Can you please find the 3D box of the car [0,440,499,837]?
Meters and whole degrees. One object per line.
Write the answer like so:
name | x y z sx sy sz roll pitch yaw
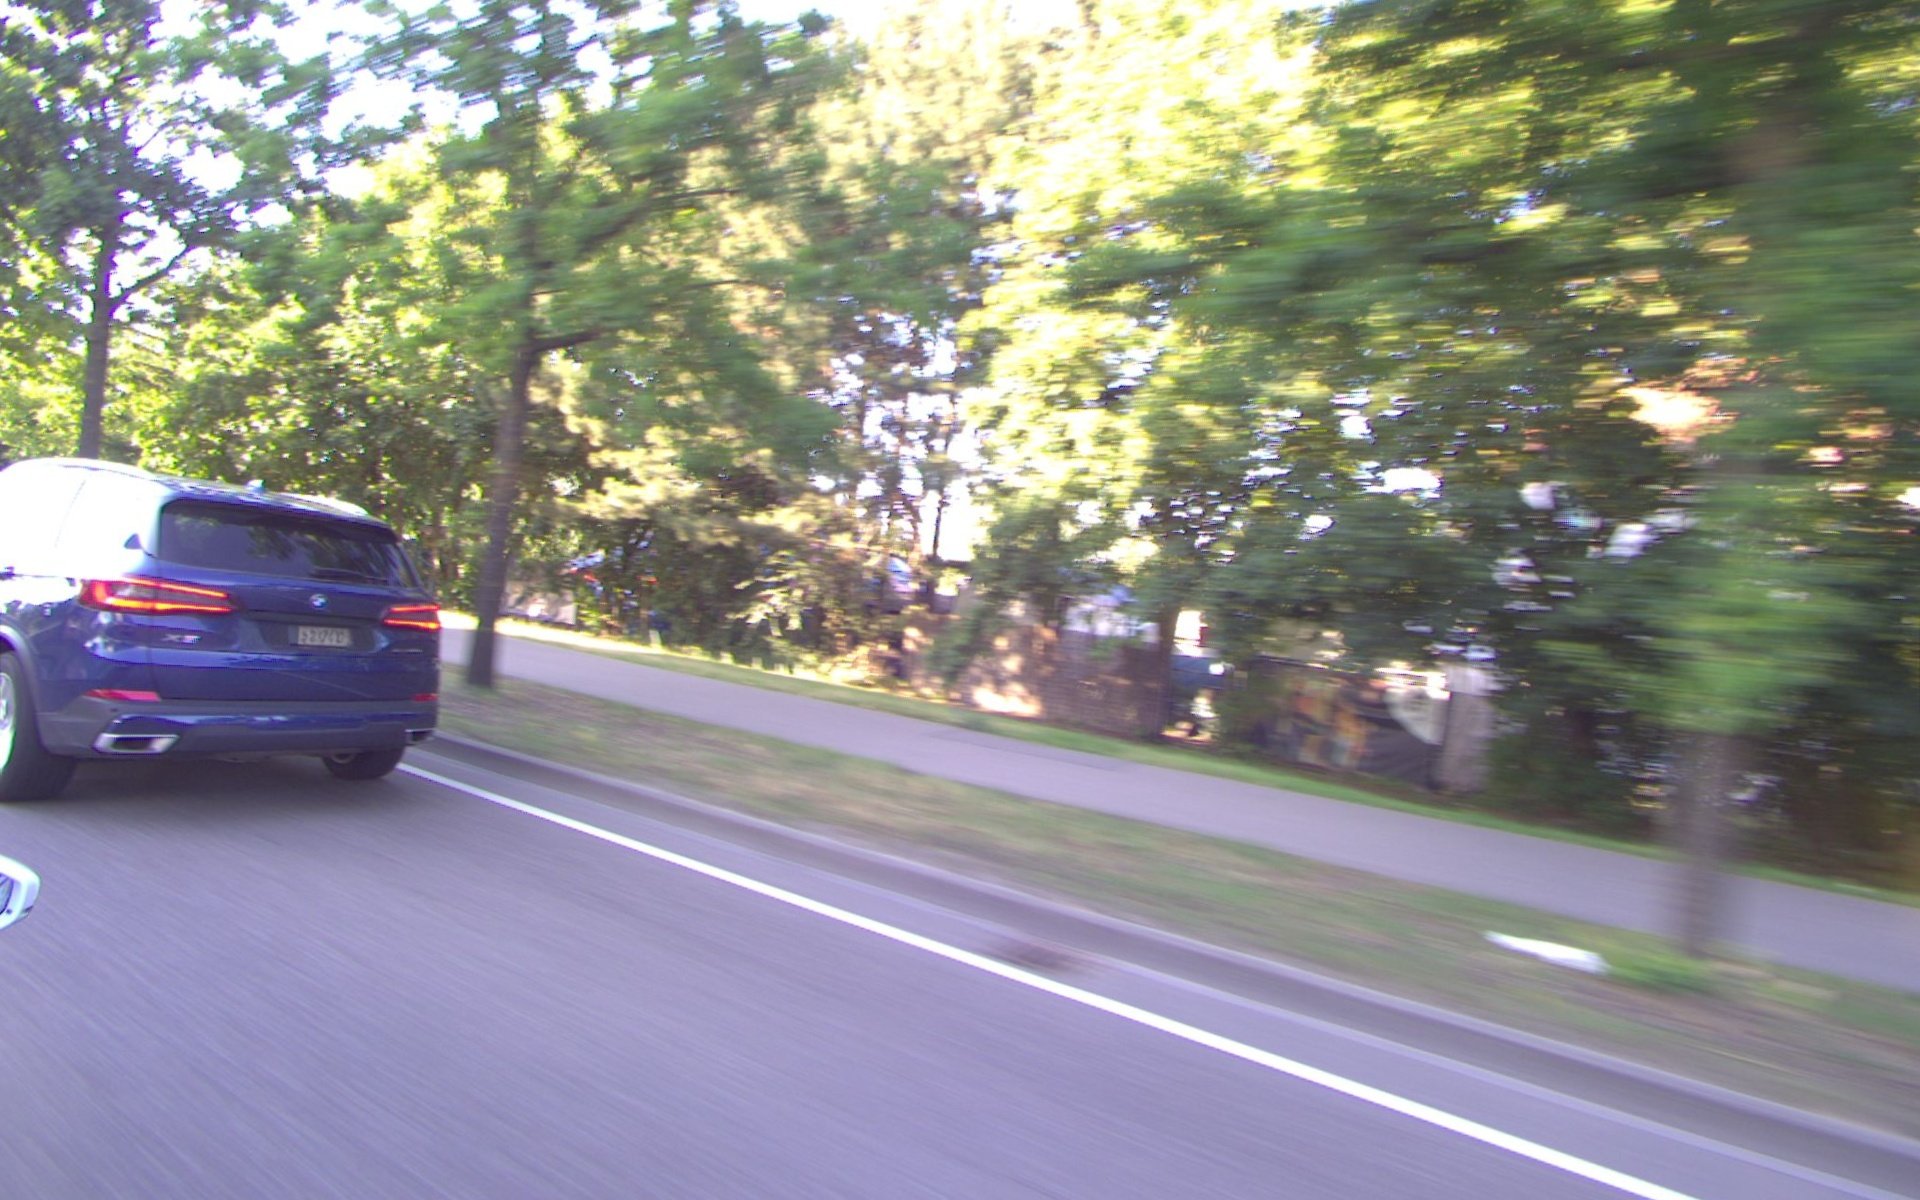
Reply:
car | -5.343 0.065 6.452 4.621 1.747 1.958 6 -2 32
